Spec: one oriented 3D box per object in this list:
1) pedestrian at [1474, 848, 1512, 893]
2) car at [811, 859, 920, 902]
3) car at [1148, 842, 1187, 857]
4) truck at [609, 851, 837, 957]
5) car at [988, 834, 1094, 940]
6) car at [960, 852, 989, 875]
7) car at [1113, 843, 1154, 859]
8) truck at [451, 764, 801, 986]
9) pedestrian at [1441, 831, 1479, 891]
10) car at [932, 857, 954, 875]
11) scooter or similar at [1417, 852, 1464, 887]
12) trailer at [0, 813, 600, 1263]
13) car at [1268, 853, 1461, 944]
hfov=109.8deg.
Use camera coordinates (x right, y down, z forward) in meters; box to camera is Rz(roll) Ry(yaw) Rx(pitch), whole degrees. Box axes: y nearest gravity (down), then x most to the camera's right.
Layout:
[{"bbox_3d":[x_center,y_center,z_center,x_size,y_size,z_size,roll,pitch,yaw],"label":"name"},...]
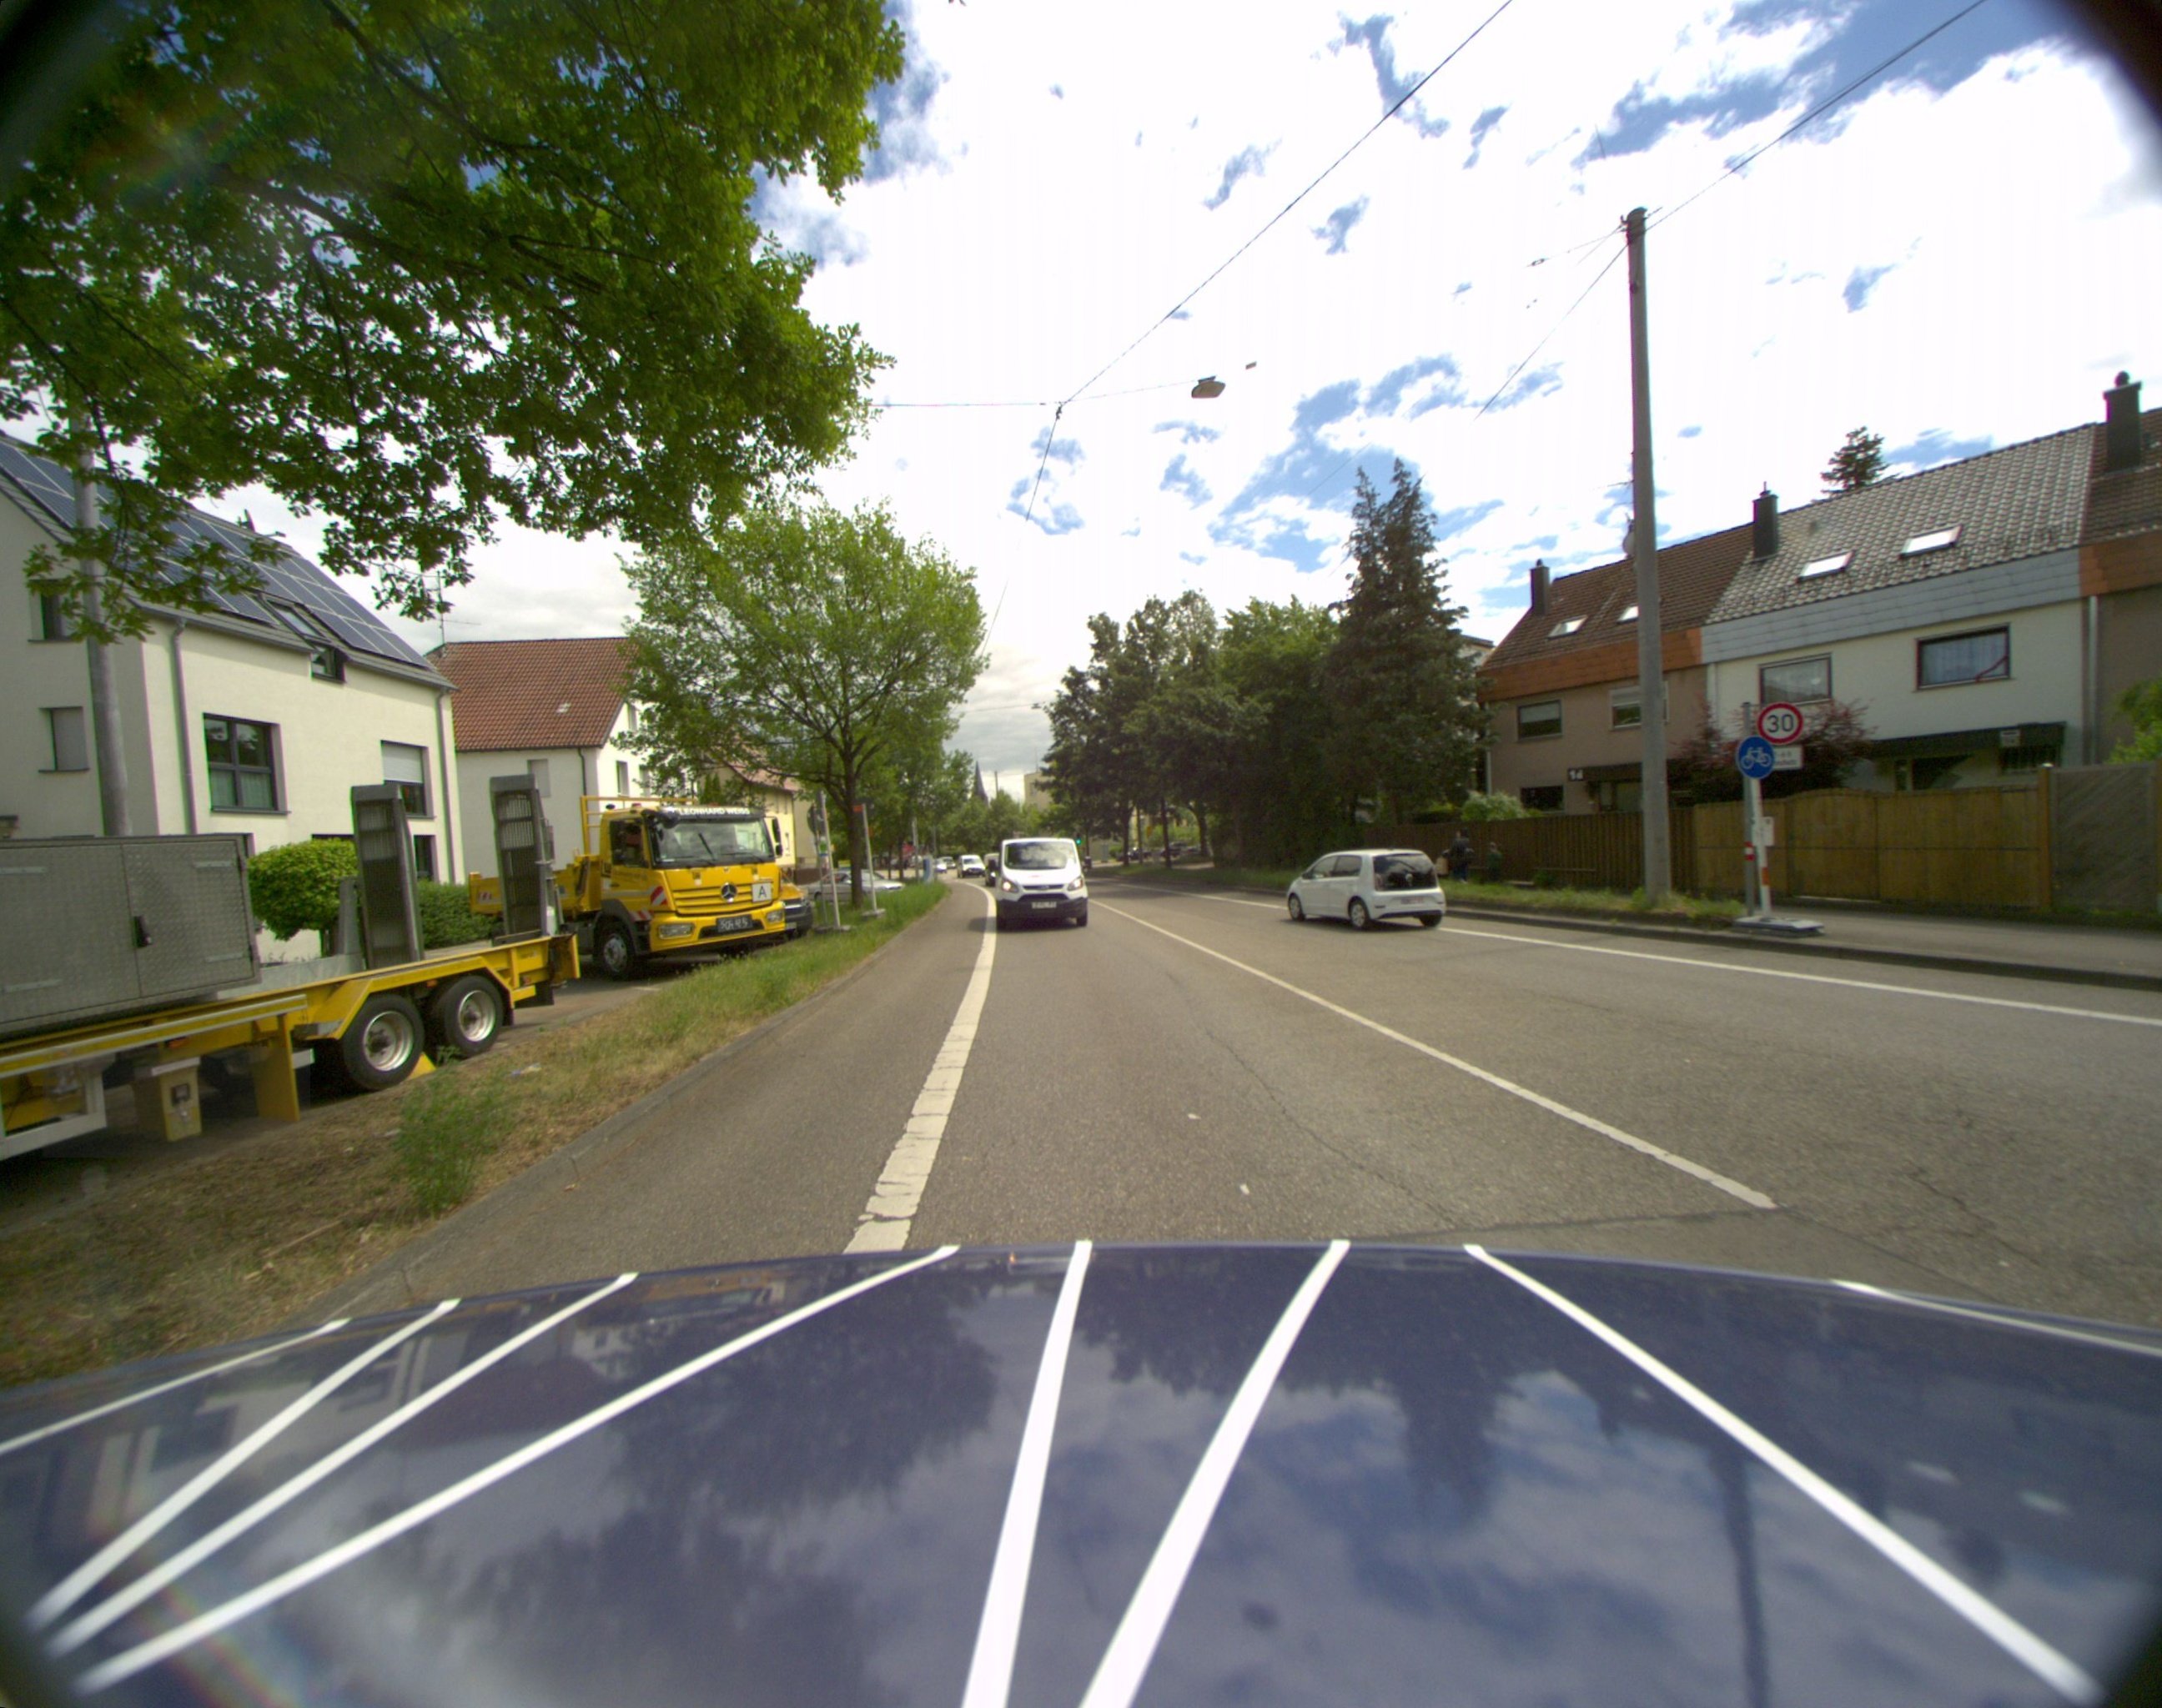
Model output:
[{"bbox_3d":[10.510,0.413,19.383,0.556,1.080,0.641,-3,1,-6],"label":"pedestrian"},{"bbox_3d":[-8.758,1.048,30.707,4.295,1.569,2.004,-1,1,37],"label":"car"},{"bbox_3d":[9.864,-0.483,86.469,4.006,1.499,1.995,-4,1,-32],"label":"car"},{"bbox_3d":[-8.306,1.167,17.326,5.942,2.002,2.003,-5,0,36],"label":"truck"},{"bbox_3d":[-1.038,0.590,17.984,1.999,2.002,5.509,-4,2,-5],"label":"car"},{"bbox_3d":[-8.644,0.735,61.477,2.000,1.719,4.099,-3,1,-12],"label":"car"},{"bbox_3d":[5.769,-0.311,83.545,4.006,1.499,1.995,-4,1,-34],"label":"car"},{"bbox_3d":[-8.287,0.561,13.557,6.616,3.179,2.347,-6,-1,31],"label":"truck"},{"bbox_3d":[9.570,0.172,19.202,0.556,1.472,0.641,-3,1,-6],"label":"pedestrian"},{"bbox_3d":[-14.328,1.230,78.781,2.000,1.652,3.995,-3,1,-12],"label":"car"},{"bbox_3d":[9.464,0.400,20.041,0.638,0.860,1.029,-3,1,-6],"label":"scooter or similar"},{"bbox_3d":[-6.872,0.994,6.004,2.600,2.232,5.671,-5,1,-4],"label":"trailer"},{"bbox_3d":[5.493,0.770,15.311,1.699,1.504,3.995,-2,1,-13],"label":"car"}]
